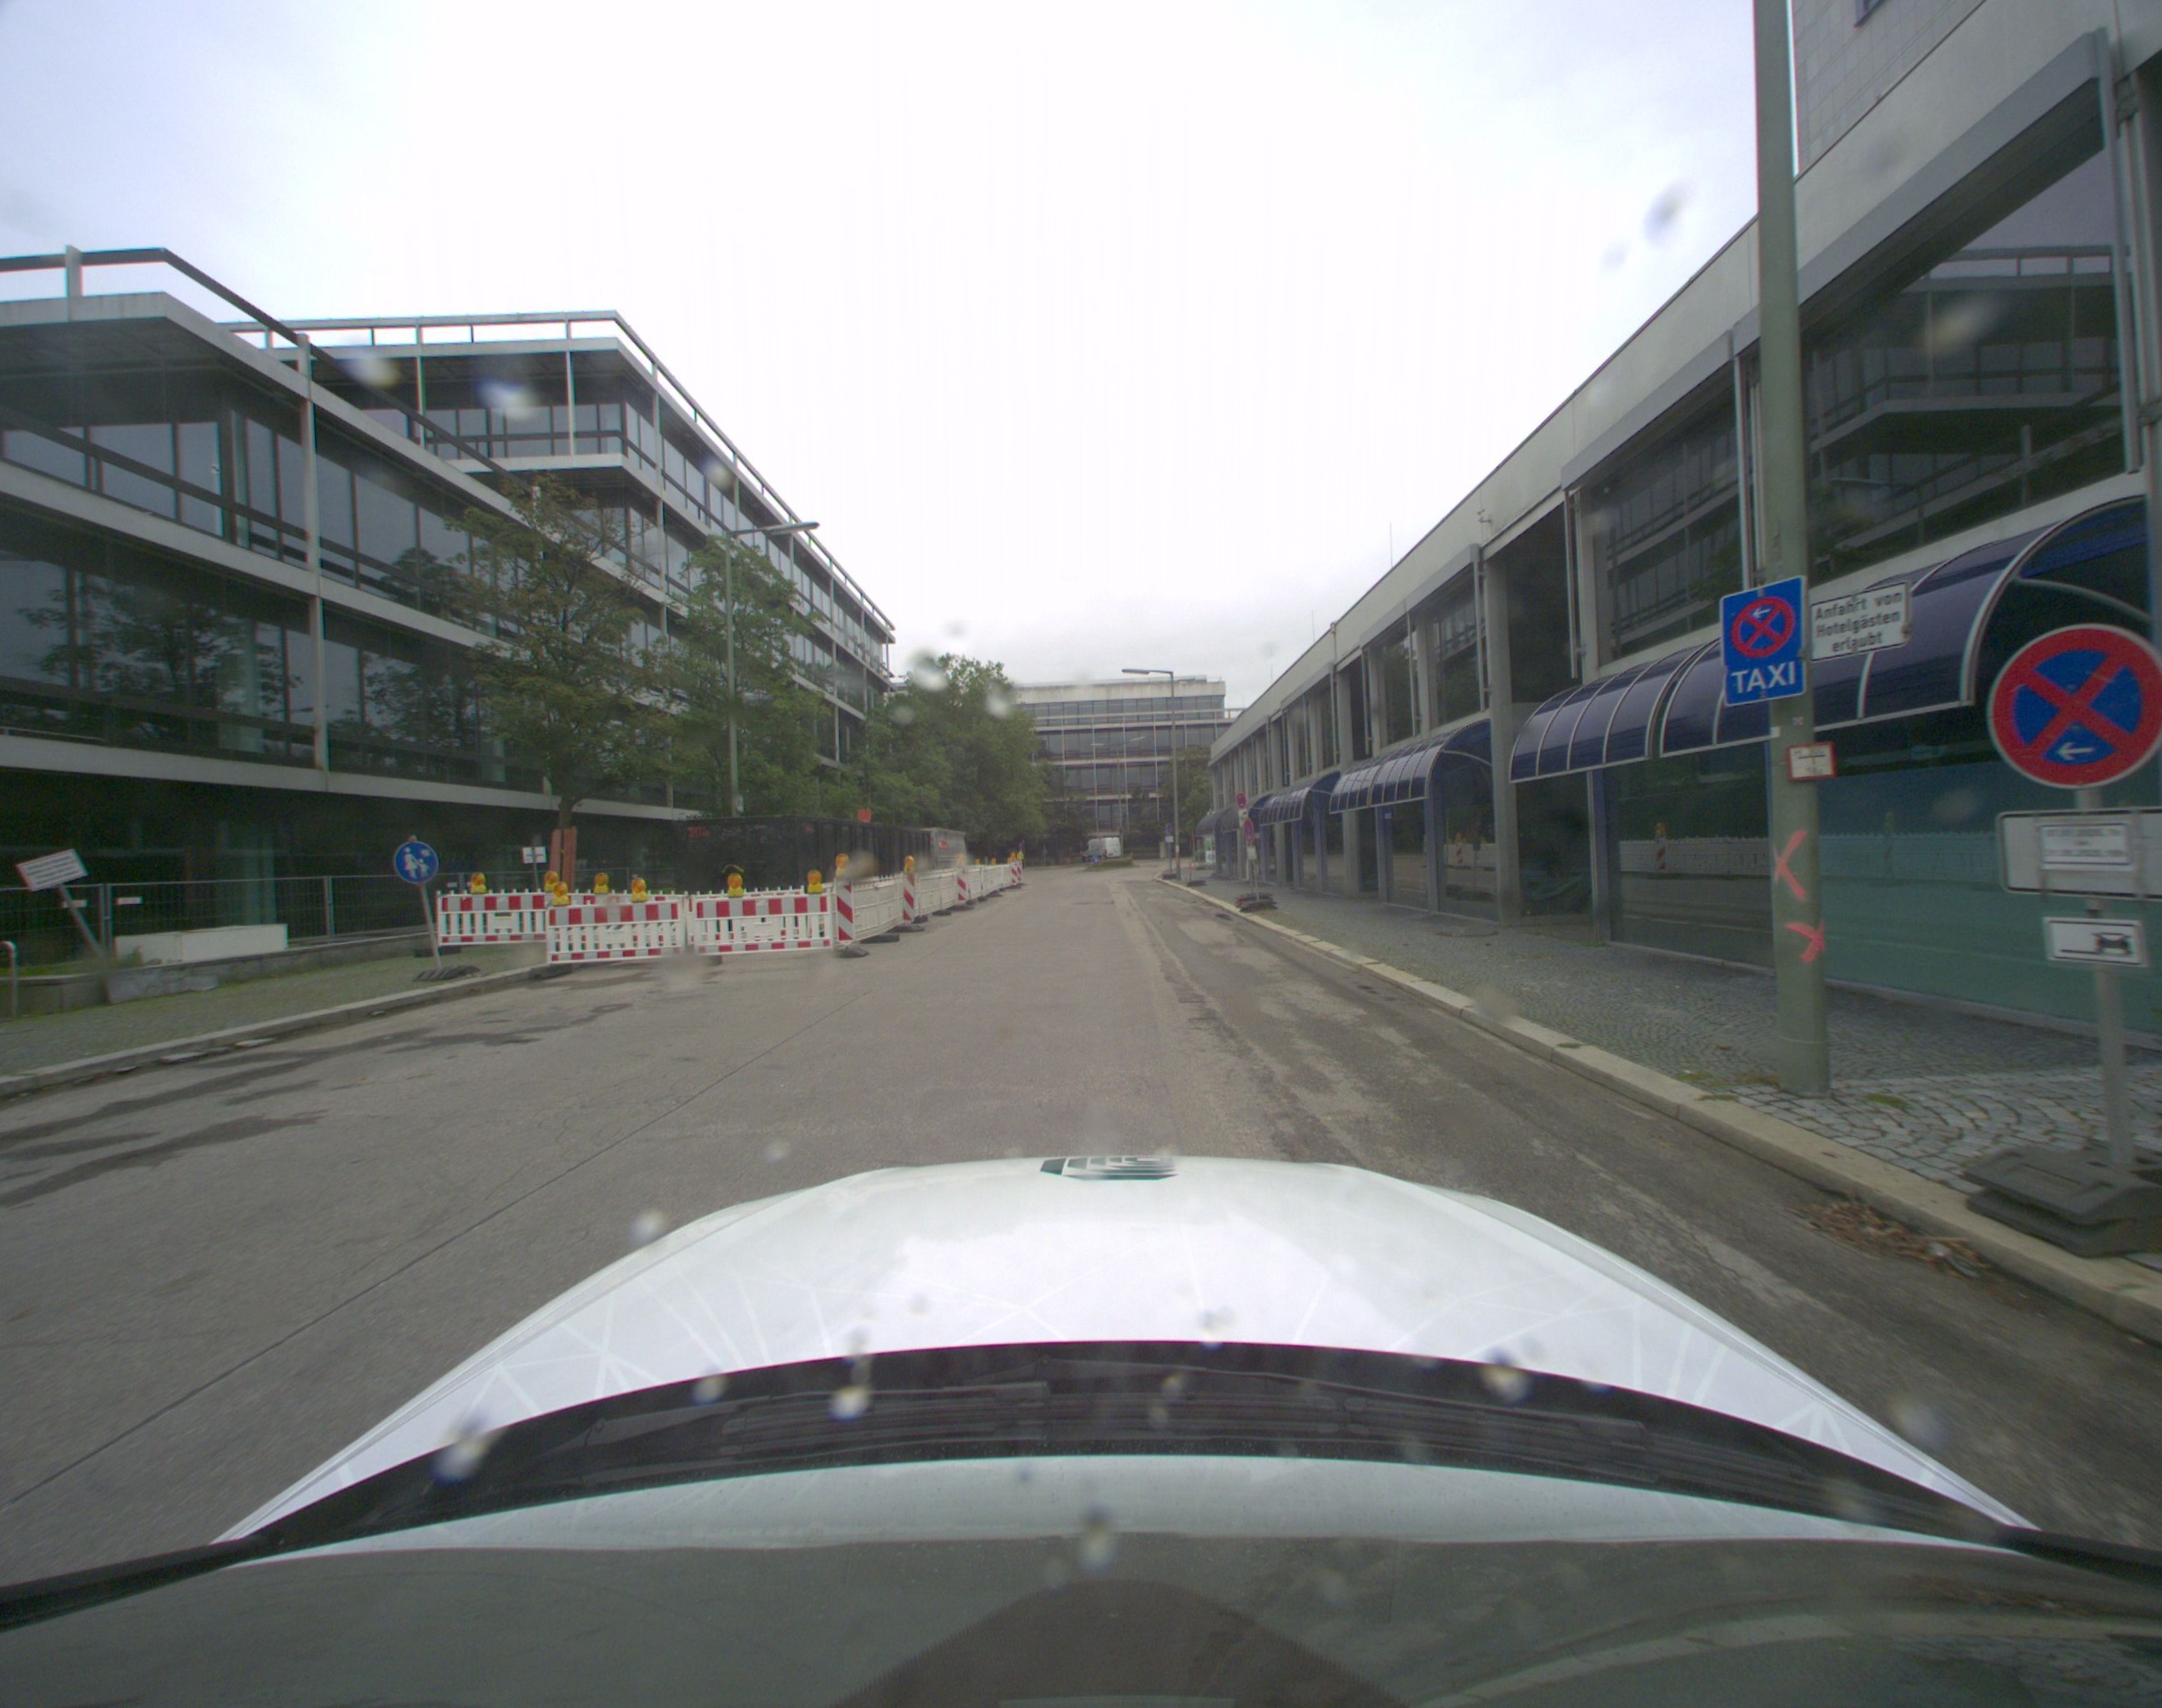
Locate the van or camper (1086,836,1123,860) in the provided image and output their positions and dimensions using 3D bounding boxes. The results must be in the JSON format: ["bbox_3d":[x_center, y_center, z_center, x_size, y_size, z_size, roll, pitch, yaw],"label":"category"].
[{"bbox_3d":[2.558,-0.656,90.708,2.095,2.492,5.026,-2,0,-24],"label":"van or camper"}]

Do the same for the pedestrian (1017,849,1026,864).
[{"bbox_3d":[-6.524,0.294,89.557,0.743,1.677,0.678,-2,0,-18],"label":"pedestrian"}]
